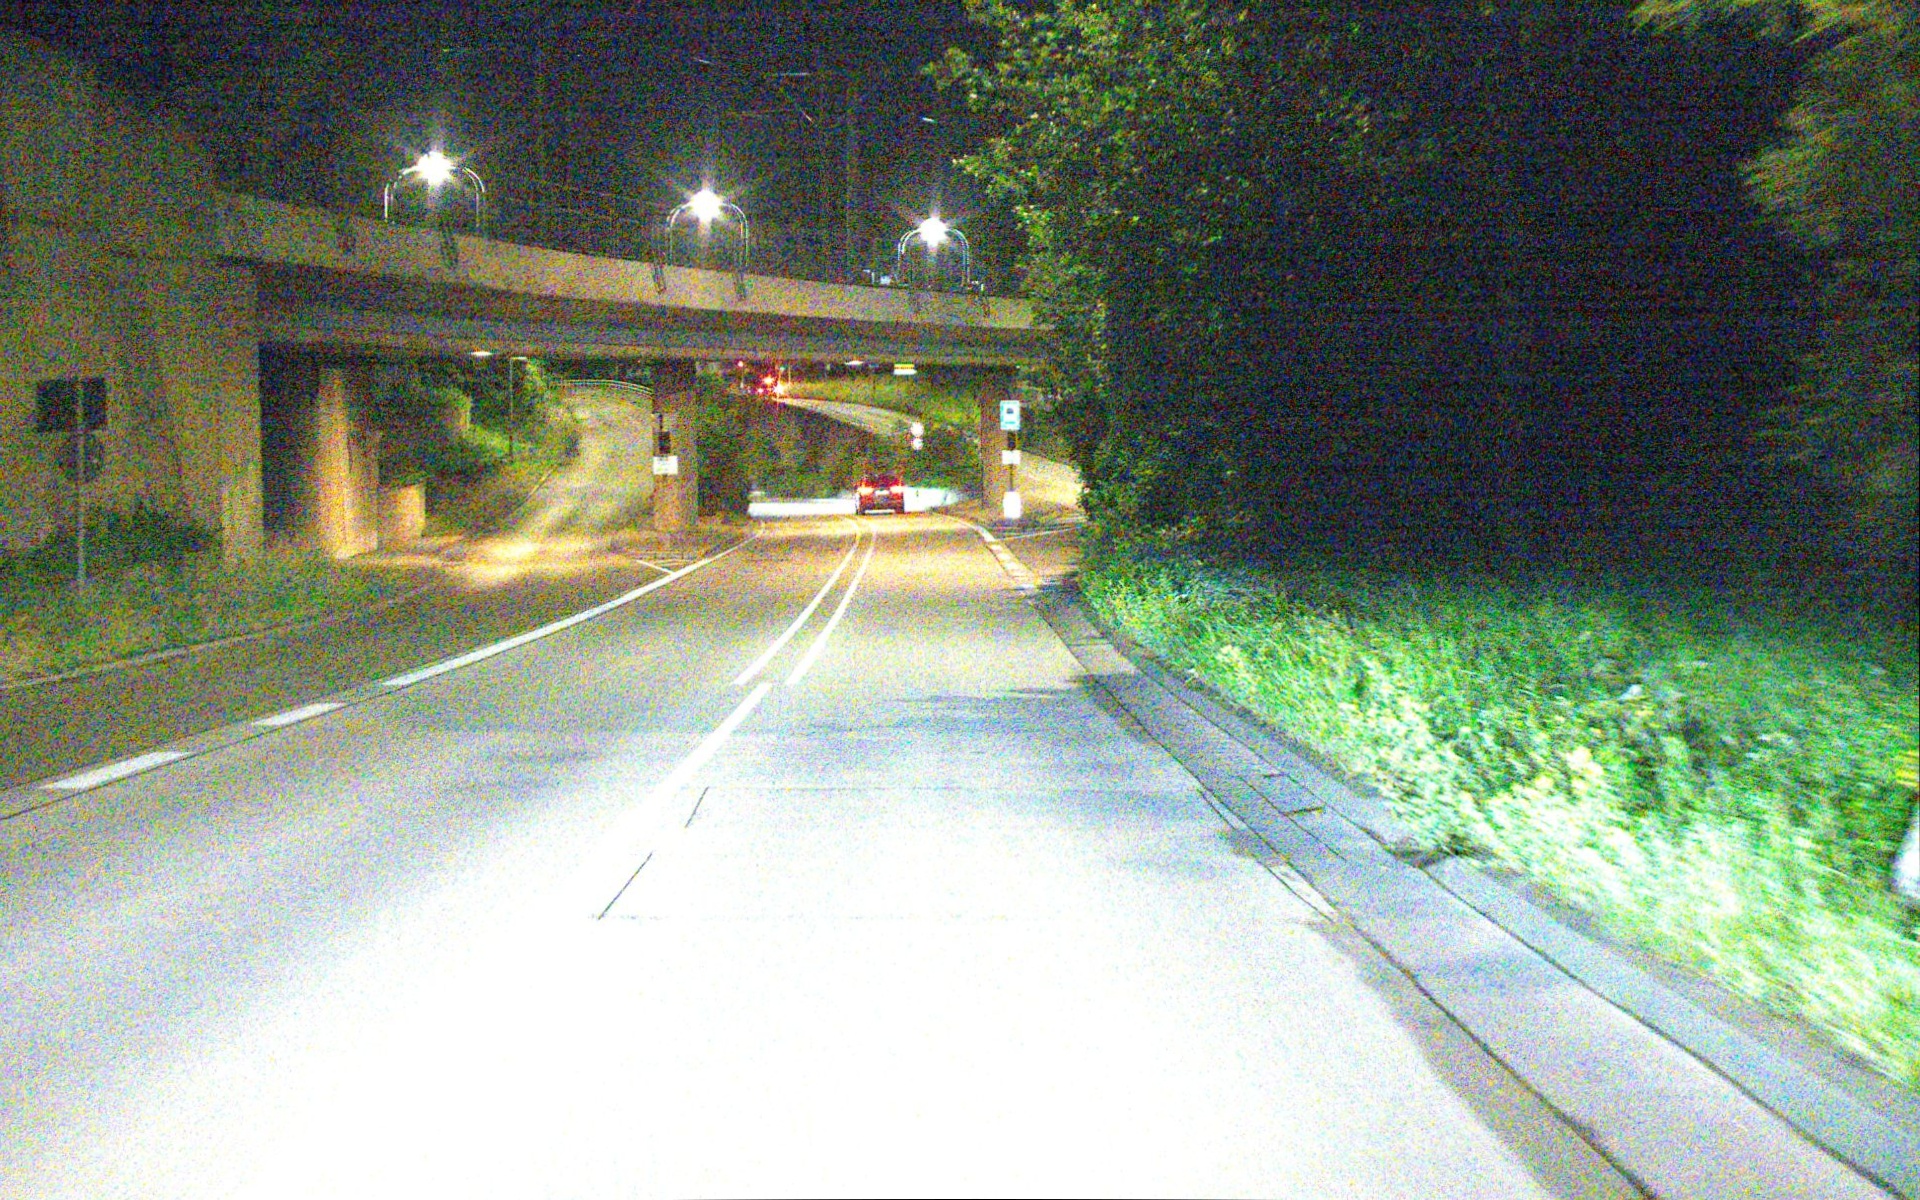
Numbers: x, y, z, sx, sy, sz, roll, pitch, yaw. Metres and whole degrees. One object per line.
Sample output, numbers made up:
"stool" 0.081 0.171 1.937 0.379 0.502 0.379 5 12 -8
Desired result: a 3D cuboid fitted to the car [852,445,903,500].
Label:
"car" -3.261 -5.064 136.842 1.918 2.007 4.123 2 1 -1
